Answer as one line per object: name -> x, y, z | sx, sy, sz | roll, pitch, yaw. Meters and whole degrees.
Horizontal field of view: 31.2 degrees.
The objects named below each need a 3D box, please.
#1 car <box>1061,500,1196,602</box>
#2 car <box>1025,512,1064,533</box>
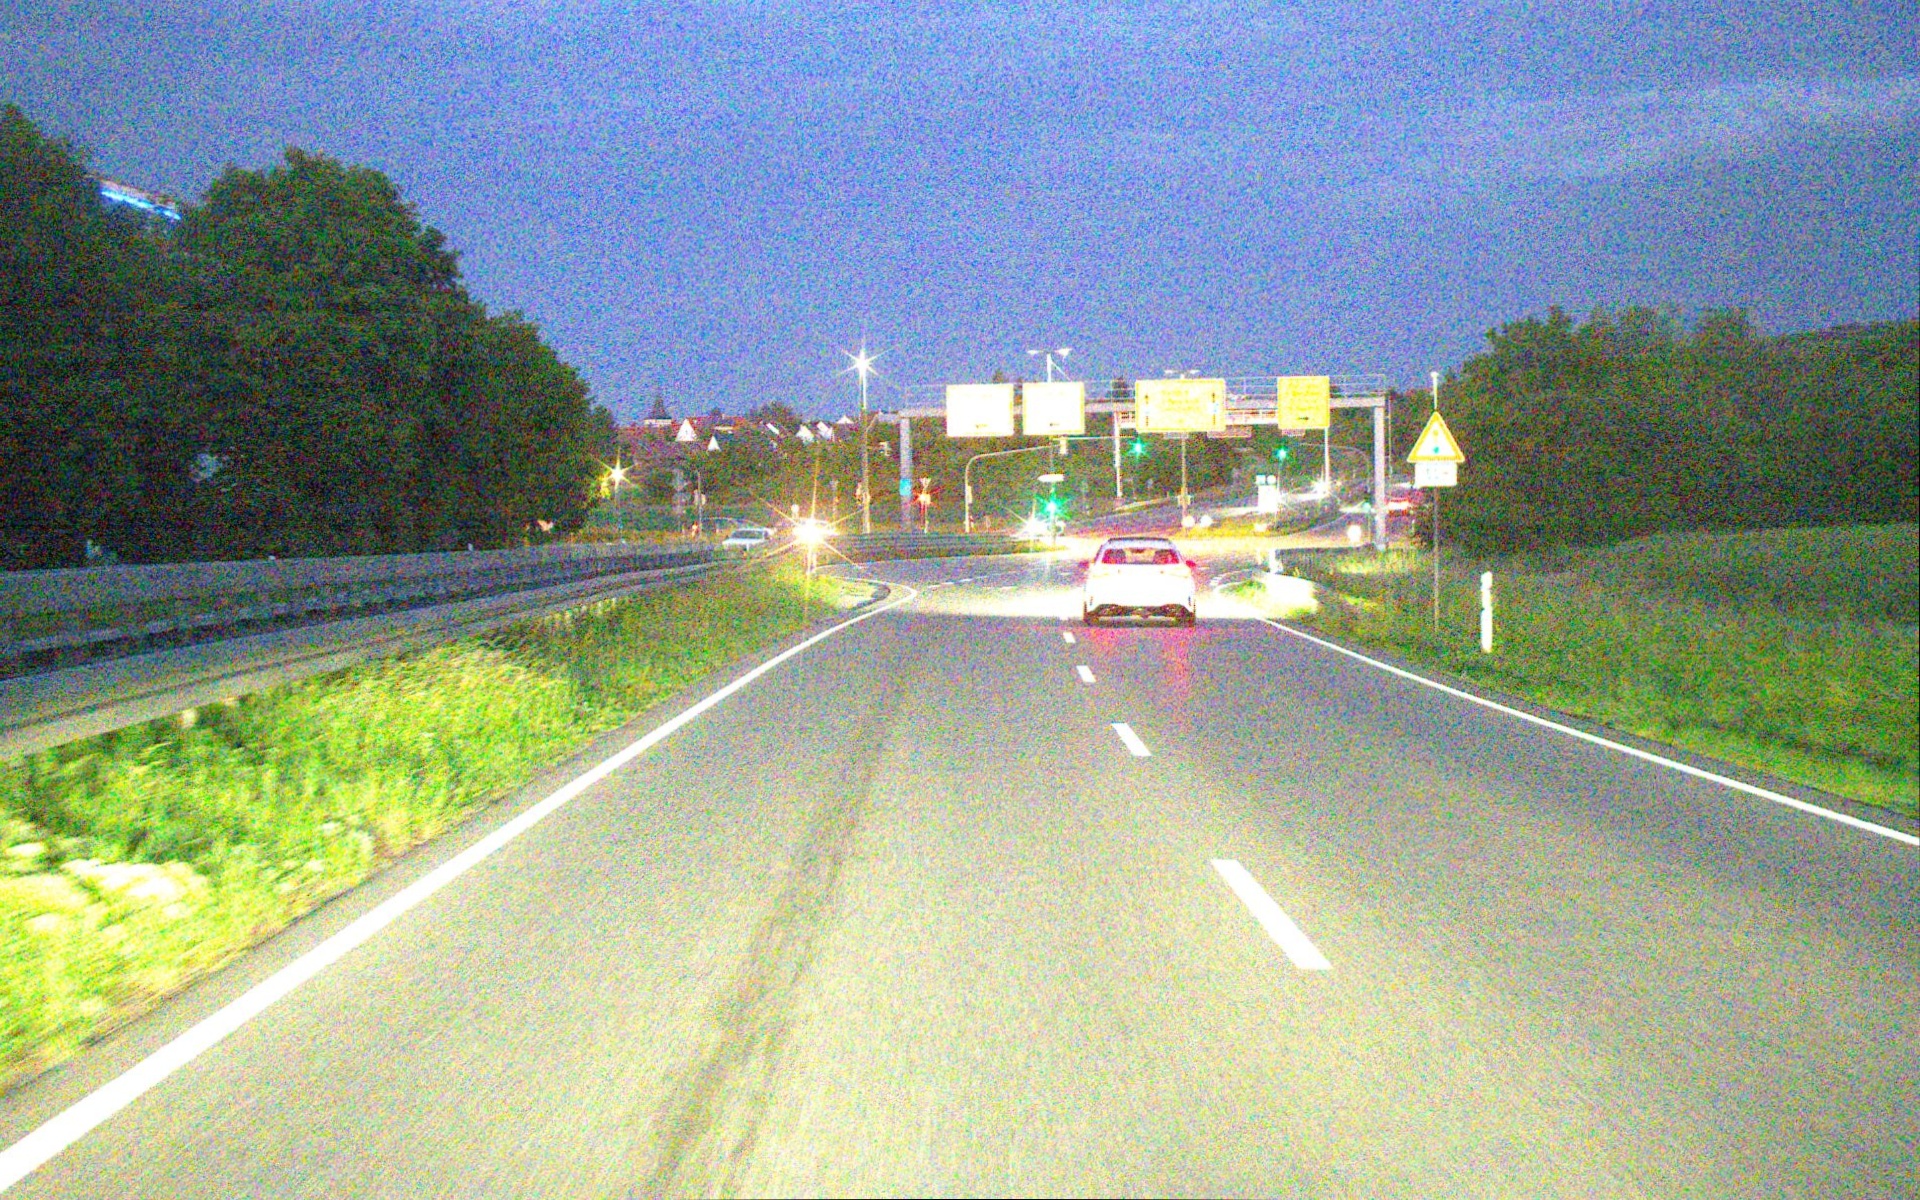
car -> 2.730, -0.814, 56.470 | 2.007, 1.605, 3.845 | 0, 1, 0
car -> 5.862, -5.360, 237.766 | 1.994, 1.420, 4.530 | 1, 2, 11
